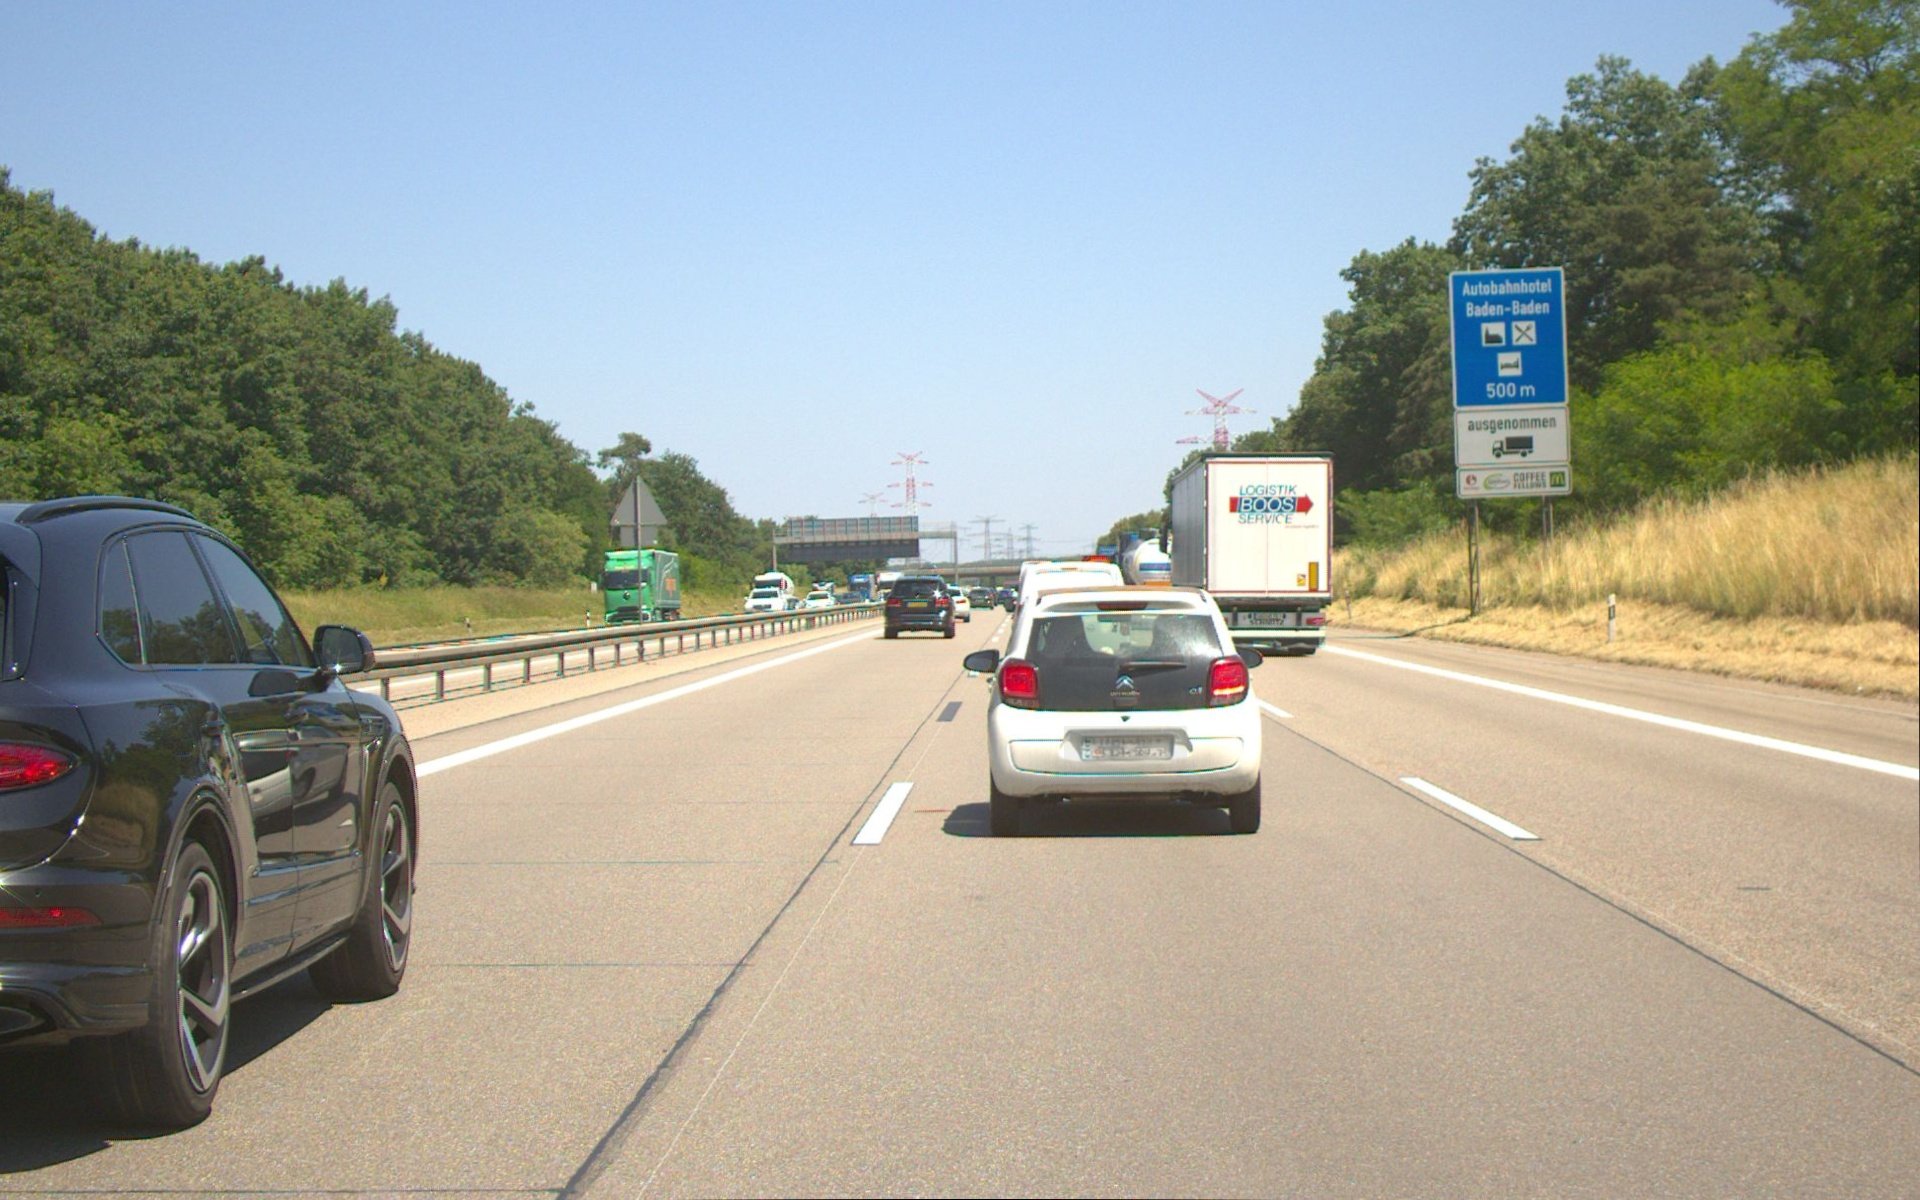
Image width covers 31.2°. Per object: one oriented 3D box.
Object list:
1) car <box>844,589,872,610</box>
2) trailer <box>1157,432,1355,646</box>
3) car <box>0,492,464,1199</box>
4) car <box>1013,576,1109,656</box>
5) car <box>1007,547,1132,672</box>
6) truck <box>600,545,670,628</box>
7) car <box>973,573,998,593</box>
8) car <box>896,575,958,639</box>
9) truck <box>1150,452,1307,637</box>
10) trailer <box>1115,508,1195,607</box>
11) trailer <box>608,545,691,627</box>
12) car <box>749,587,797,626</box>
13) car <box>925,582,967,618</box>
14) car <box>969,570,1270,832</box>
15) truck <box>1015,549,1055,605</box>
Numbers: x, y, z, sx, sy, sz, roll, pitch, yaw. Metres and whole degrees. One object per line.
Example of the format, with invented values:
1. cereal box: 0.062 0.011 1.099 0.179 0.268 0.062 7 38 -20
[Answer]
1. car: -7.245 -0.042 244.178 1.709 1.406 5.083 -4 0 1
2. trailer: 6.216 -1.215 74.561 3.286 4.205 13.565 0 0 1
3. car: -2.995 0.577 10.967 1.940 1.746 5.813 0 1 0
4. car: 1.932 0.297 66.903 1.774 1.467 3.872 -1 0 1
5. car: 1.662 0.132 53.504 1.814 1.821 5.110 -1 0 1
6. truck: -17.078 -0.709 180.975 2.700 4.147 6.296 -4 0 1
7. car: 1.709 -1.111 227.020 1.607 1.296 3.674 0 0 1
8. car: -0.912 0.172 96.829 1.626 1.749 3.804 0 0 1
9. truck: 6.272 -1.271 81.208 3.286 4.205 6.007 0 0 1
10. trailer: 7.834 -1.649 139.283 2.683 3.824 12.010 0 0 1
11. trailer: -16.922 -0.778 188.360 2.705 4.147 14.338 -4 0 1
12. car: -9.417 0.301 173.503 1.954 1.786 5.562 -4 1 1
13. car: -0.566 -0.010 140.404 1.669 1.396 3.713 -1 1 0
14. car: 0.949 0.559 21.669 1.708 1.490 4.024 0 0 1
15. truck: 4.006 -1.206 184.717 2.060 2.904 7.003 -1 0 1
